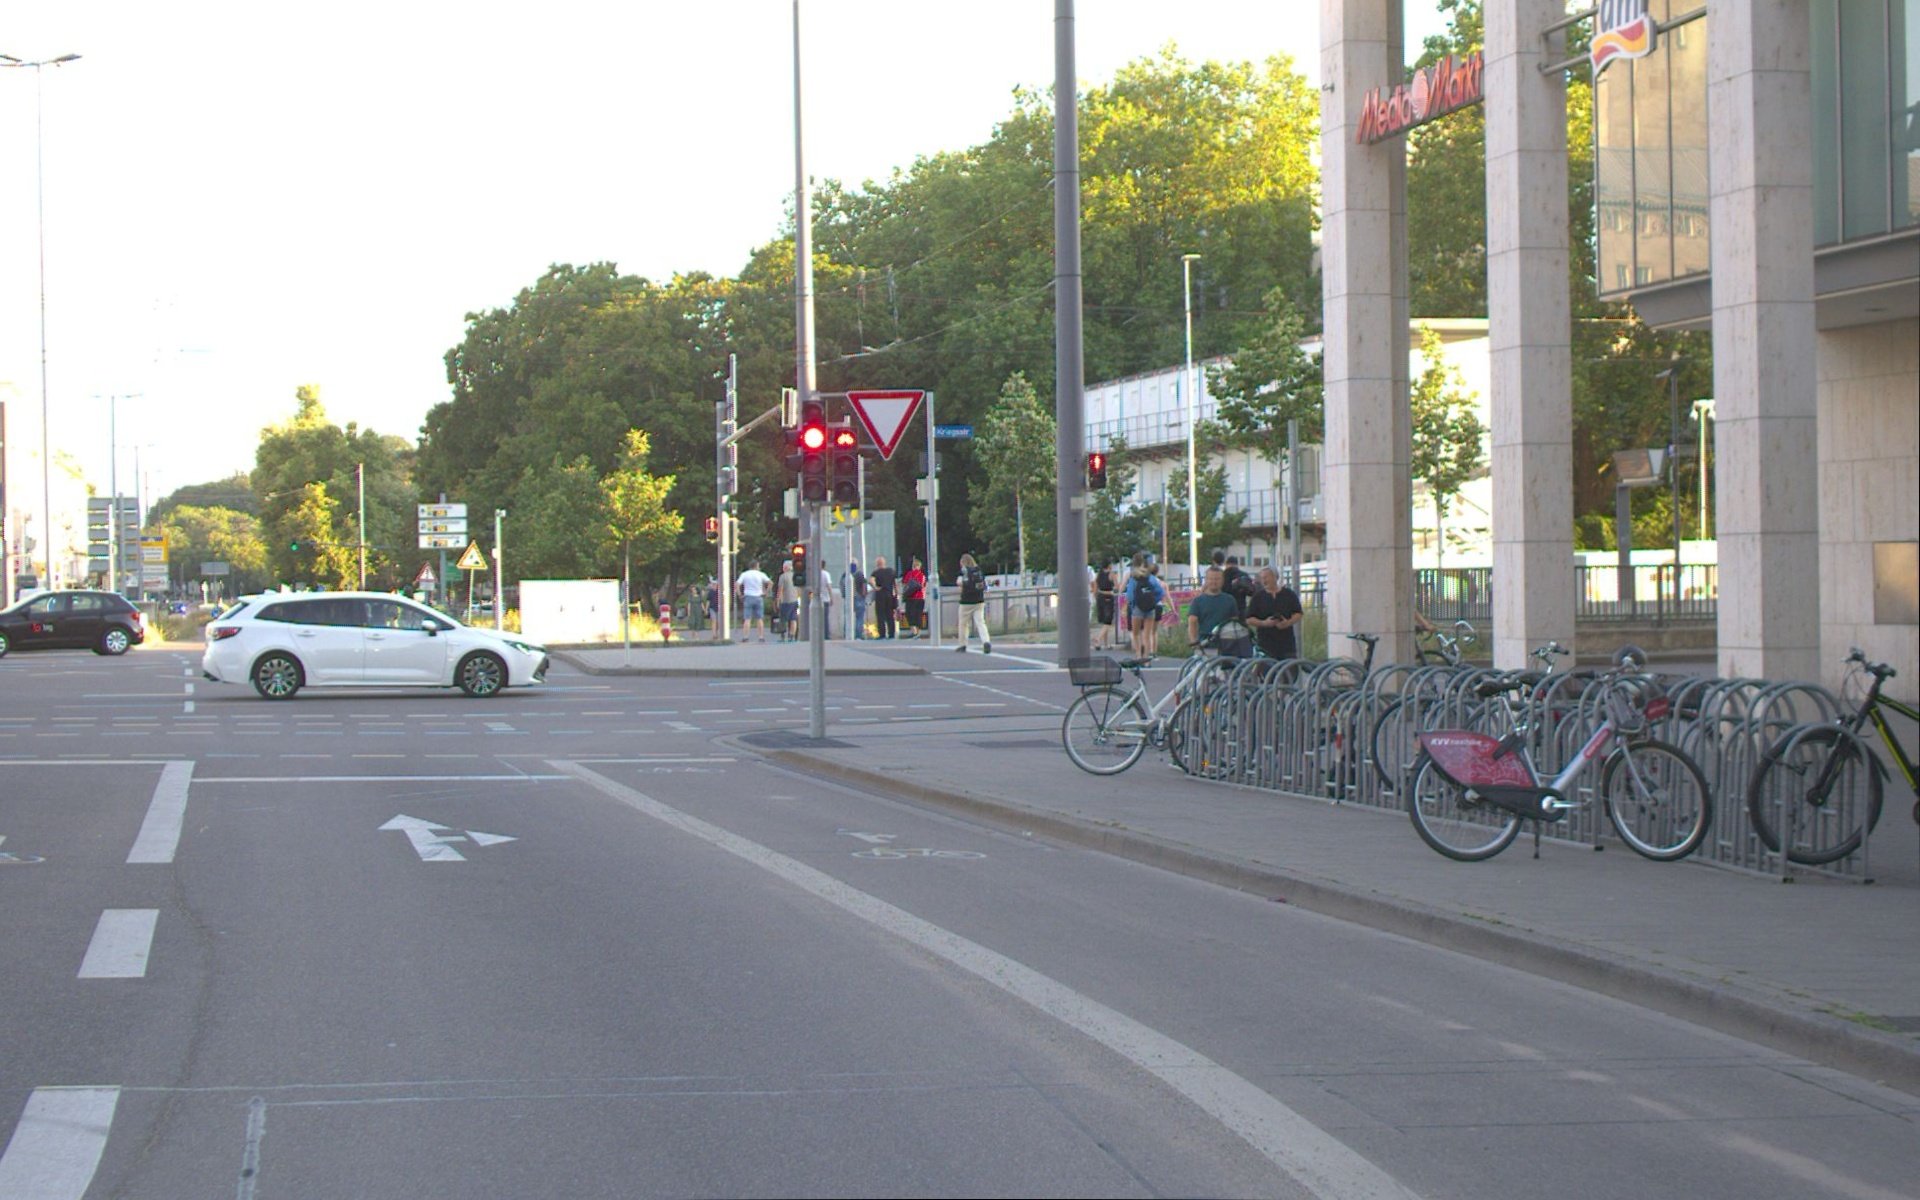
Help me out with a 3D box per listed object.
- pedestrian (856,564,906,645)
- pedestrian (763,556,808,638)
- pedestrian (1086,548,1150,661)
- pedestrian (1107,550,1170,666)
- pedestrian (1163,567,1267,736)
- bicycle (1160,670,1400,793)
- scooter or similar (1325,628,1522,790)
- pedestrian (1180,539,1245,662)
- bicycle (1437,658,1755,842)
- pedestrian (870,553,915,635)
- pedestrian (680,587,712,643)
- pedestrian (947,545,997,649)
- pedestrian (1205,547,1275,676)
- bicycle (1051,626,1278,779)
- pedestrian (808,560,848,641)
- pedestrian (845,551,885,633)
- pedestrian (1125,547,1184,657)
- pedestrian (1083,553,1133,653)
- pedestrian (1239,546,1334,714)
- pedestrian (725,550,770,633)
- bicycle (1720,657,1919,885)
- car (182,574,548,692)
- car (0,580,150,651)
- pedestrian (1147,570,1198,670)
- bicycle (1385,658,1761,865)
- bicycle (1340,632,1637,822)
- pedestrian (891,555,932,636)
[{"bbox_3d":[-1.722,0.098,74.583,0.686,1.724,0.810,-1,0,-45],"label":"pedestrian"},{"bbox_3d":[-3.687,-0.064,72.611,0.808,1.724,0.688,-1,0,-13],"label":"pedestrian"},{"bbox_3d":[2.446,0.071,53.376,0.892,1.724,0.688,-1,0,-4],"label":"pedestrian"},{"bbox_3d":[2.695,0.114,51.895,0.893,1.724,0.688,-1,0,1],"label":"pedestrian"},{"bbox_3d":[2.769,0.548,37.370,0.860,1.771,0.741,-3,1,-11],"label":"pedestrian"},{"bbox_3d":[2.607,1.062,27.999,1.866,0.933,0.516,-1,0,-13],"label":"bicycle"},{"bbox_3d":[3.401,0.788,25.248,1.275,1.156,0.674,0,0,-13],"label":"scooter or similar"},{"bbox_3d":[3.803,0.002,51.867,0.893,1.834,0.688,-1,0,0],"label":"pedestrian"},{"bbox_3d":[4.017,0.947,21.744,1.871,1.109,0.571,1,0,-8],"label":"bicycle"},{"bbox_3d":[-1.439,-0.121,73.143,0.808,1.724,0.688,-1,0,-13],"label":"pedestrian"},{"bbox_3d":[-8.193,0.469,106.611,0.808,1.724,0.929,-1,0,-13],"label":"pedestrian"},{"bbox_3d":[0.206,-0.058,57.668,0.691,1.724,0.741,-1,0,-10],"label":"pedestrian"},{"bbox_3d":[4.013,0.159,49.363,0.892,1.824,0.688,-1,0,-3],"label":"pedestrian"},{"bbox_3d":[1.676,0.838,28.205,1.817,1.208,0.570,-1,0,4],"label":"bicycle"},{"bbox_3d":[-2.831,0.007,73.715,0.808,1.724,0.688,-1,0,1],"label":"pedestrian"},{"bbox_3d":[-2.014,-0.164,73.072,0.808,1.724,0.688,-1,0,1],"label":"pedestrian"},{"bbox_3d":[3.087,0.032,54.500,0.893,1.724,0.688,-1,0,6],"label":"pedestrian"},{"bbox_3d":[2.586,0.056,60.012,0.836,1.724,0.688,-1,0,4],"label":"pedestrian"},{"bbox_3d":[3.559,0.319,37.536,0.756,1.771,0.741,-3,1,-11],"label":"pedestrian"},{"bbox_3d":[-4.466,-0.185,72.316,0.808,1.724,0.688,-1,0,-13],"label":"pedestrian"},{"bbox_3d":[4.845,0.869,17.417,1.816,1.096,0.601,2,0,-4],"label":"bicycle"},{"bbox_3d":[-8.157,0.422,47.016,4.795,1.491,2.128,-1,1,-12],"label":"car"},{"bbox_3d":[-19.628,0.326,74.061,3.975,1.448,1.546,-1,1,-27],"label":"car"},{"bbox_3d":[3.711,0.340,60.070,0.836,1.724,0.688,-1,0,1],"label":"pedestrian"},{"bbox_3d":[3.292,0.860,18.516,1.898,1.044,0.570,-1,0,-7],"label":"bicycle"},{"bbox_3d":[3.605,0.866,23.476,1.866,1.255,0.674,1,0,-13],"label":"bicycle"},{"bbox_3d":[-1.036,-0.104,73.821,0.808,1.724,0.688,-1,0,-5],"label":"pedestrian"}]
